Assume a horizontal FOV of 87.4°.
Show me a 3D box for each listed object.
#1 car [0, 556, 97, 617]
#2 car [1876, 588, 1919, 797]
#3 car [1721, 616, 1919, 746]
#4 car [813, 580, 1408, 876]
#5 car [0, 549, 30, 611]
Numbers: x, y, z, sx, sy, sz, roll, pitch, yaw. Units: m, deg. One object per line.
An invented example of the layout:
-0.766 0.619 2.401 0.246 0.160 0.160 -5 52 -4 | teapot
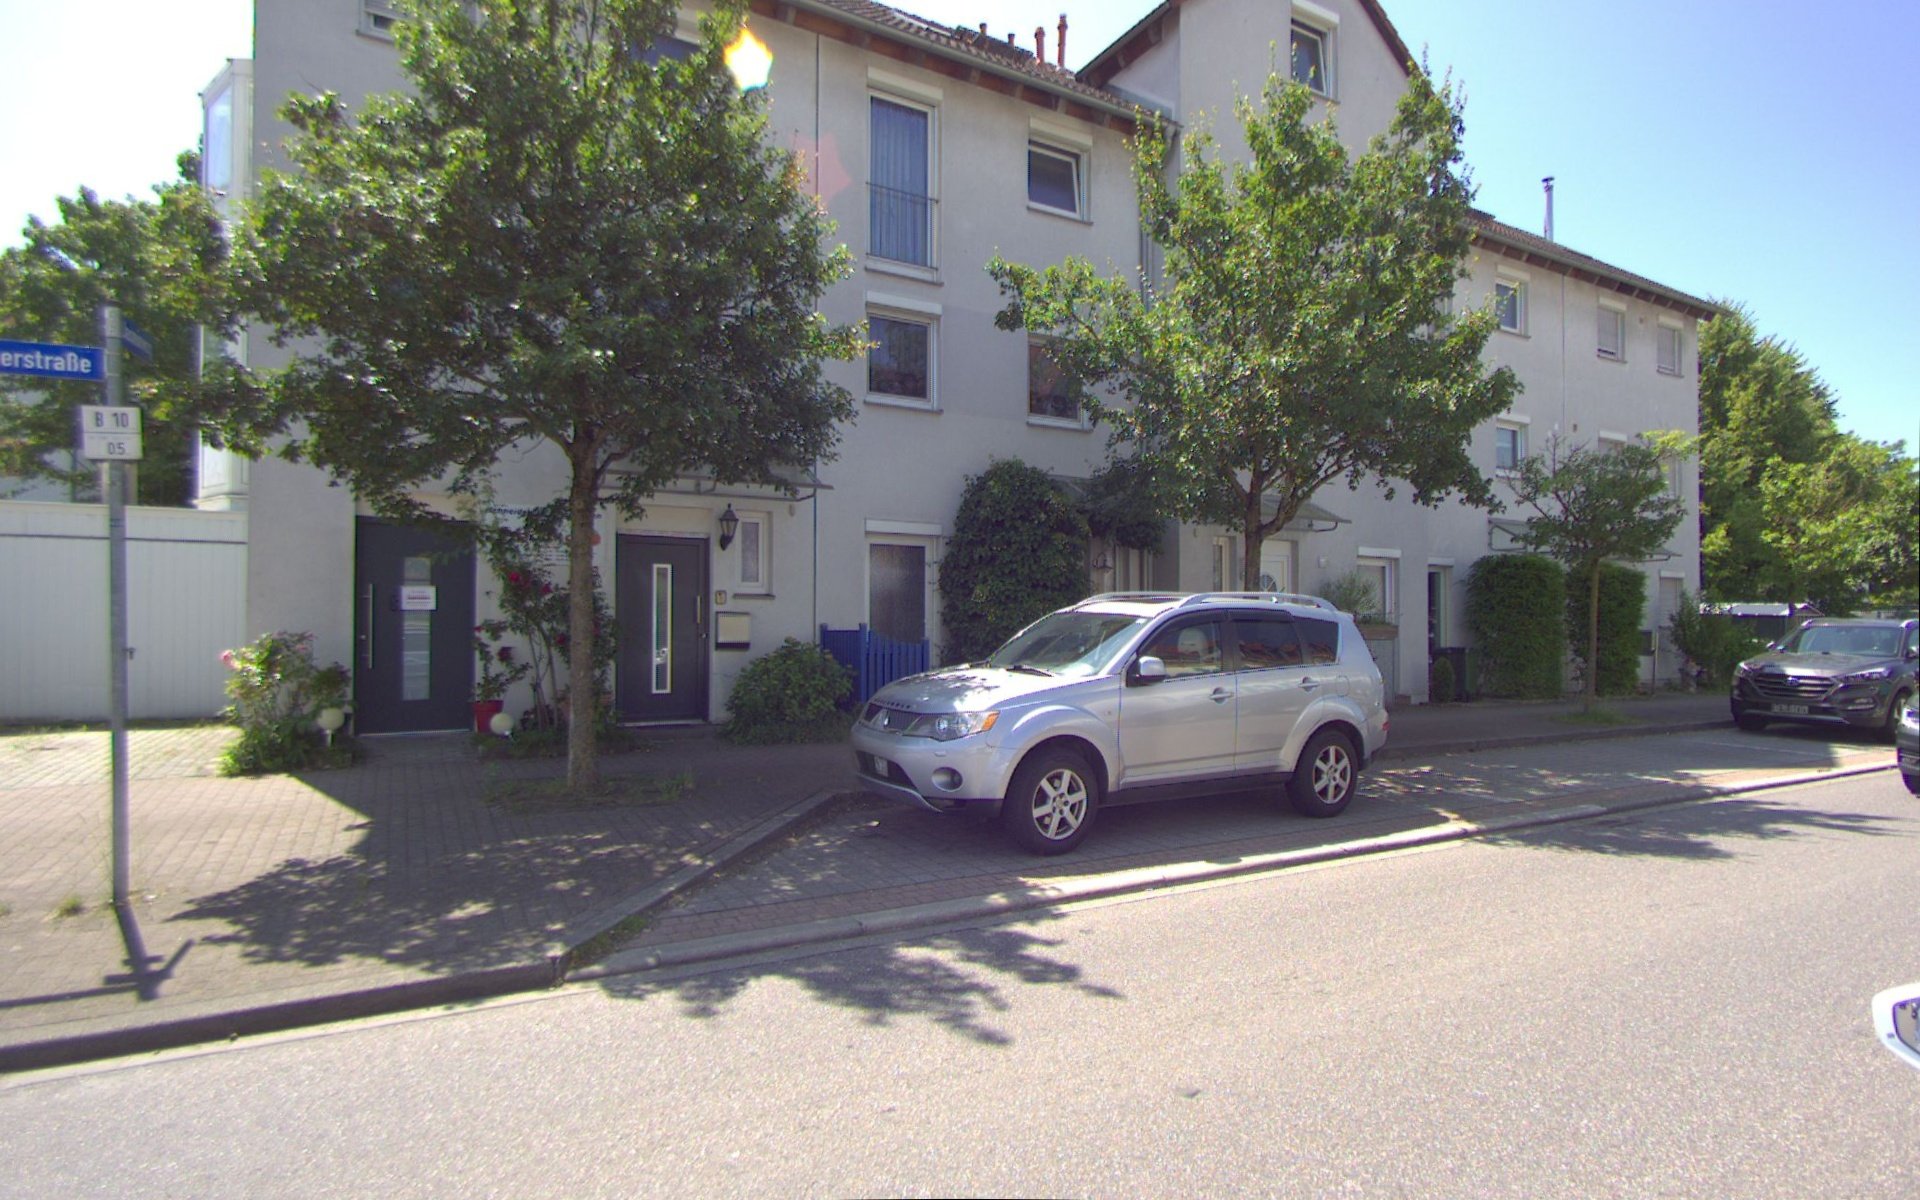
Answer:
-23.800 -0.364 25.434 1.668 1.447 3.980 1 1 -21 | car
10.817 0.851 9.701 4.412 1.879 1.648 1 -3 -30 | car
12.964 1.083 14.560 3.950 1.641 1.684 1 -1 -30 | car
1.284 0.778 7.697 4.474 1.709 1.697 1 0 -31 | car
-25.937 -0.543 25.427 1.720 1.645 3.988 3 0 -14 | car
